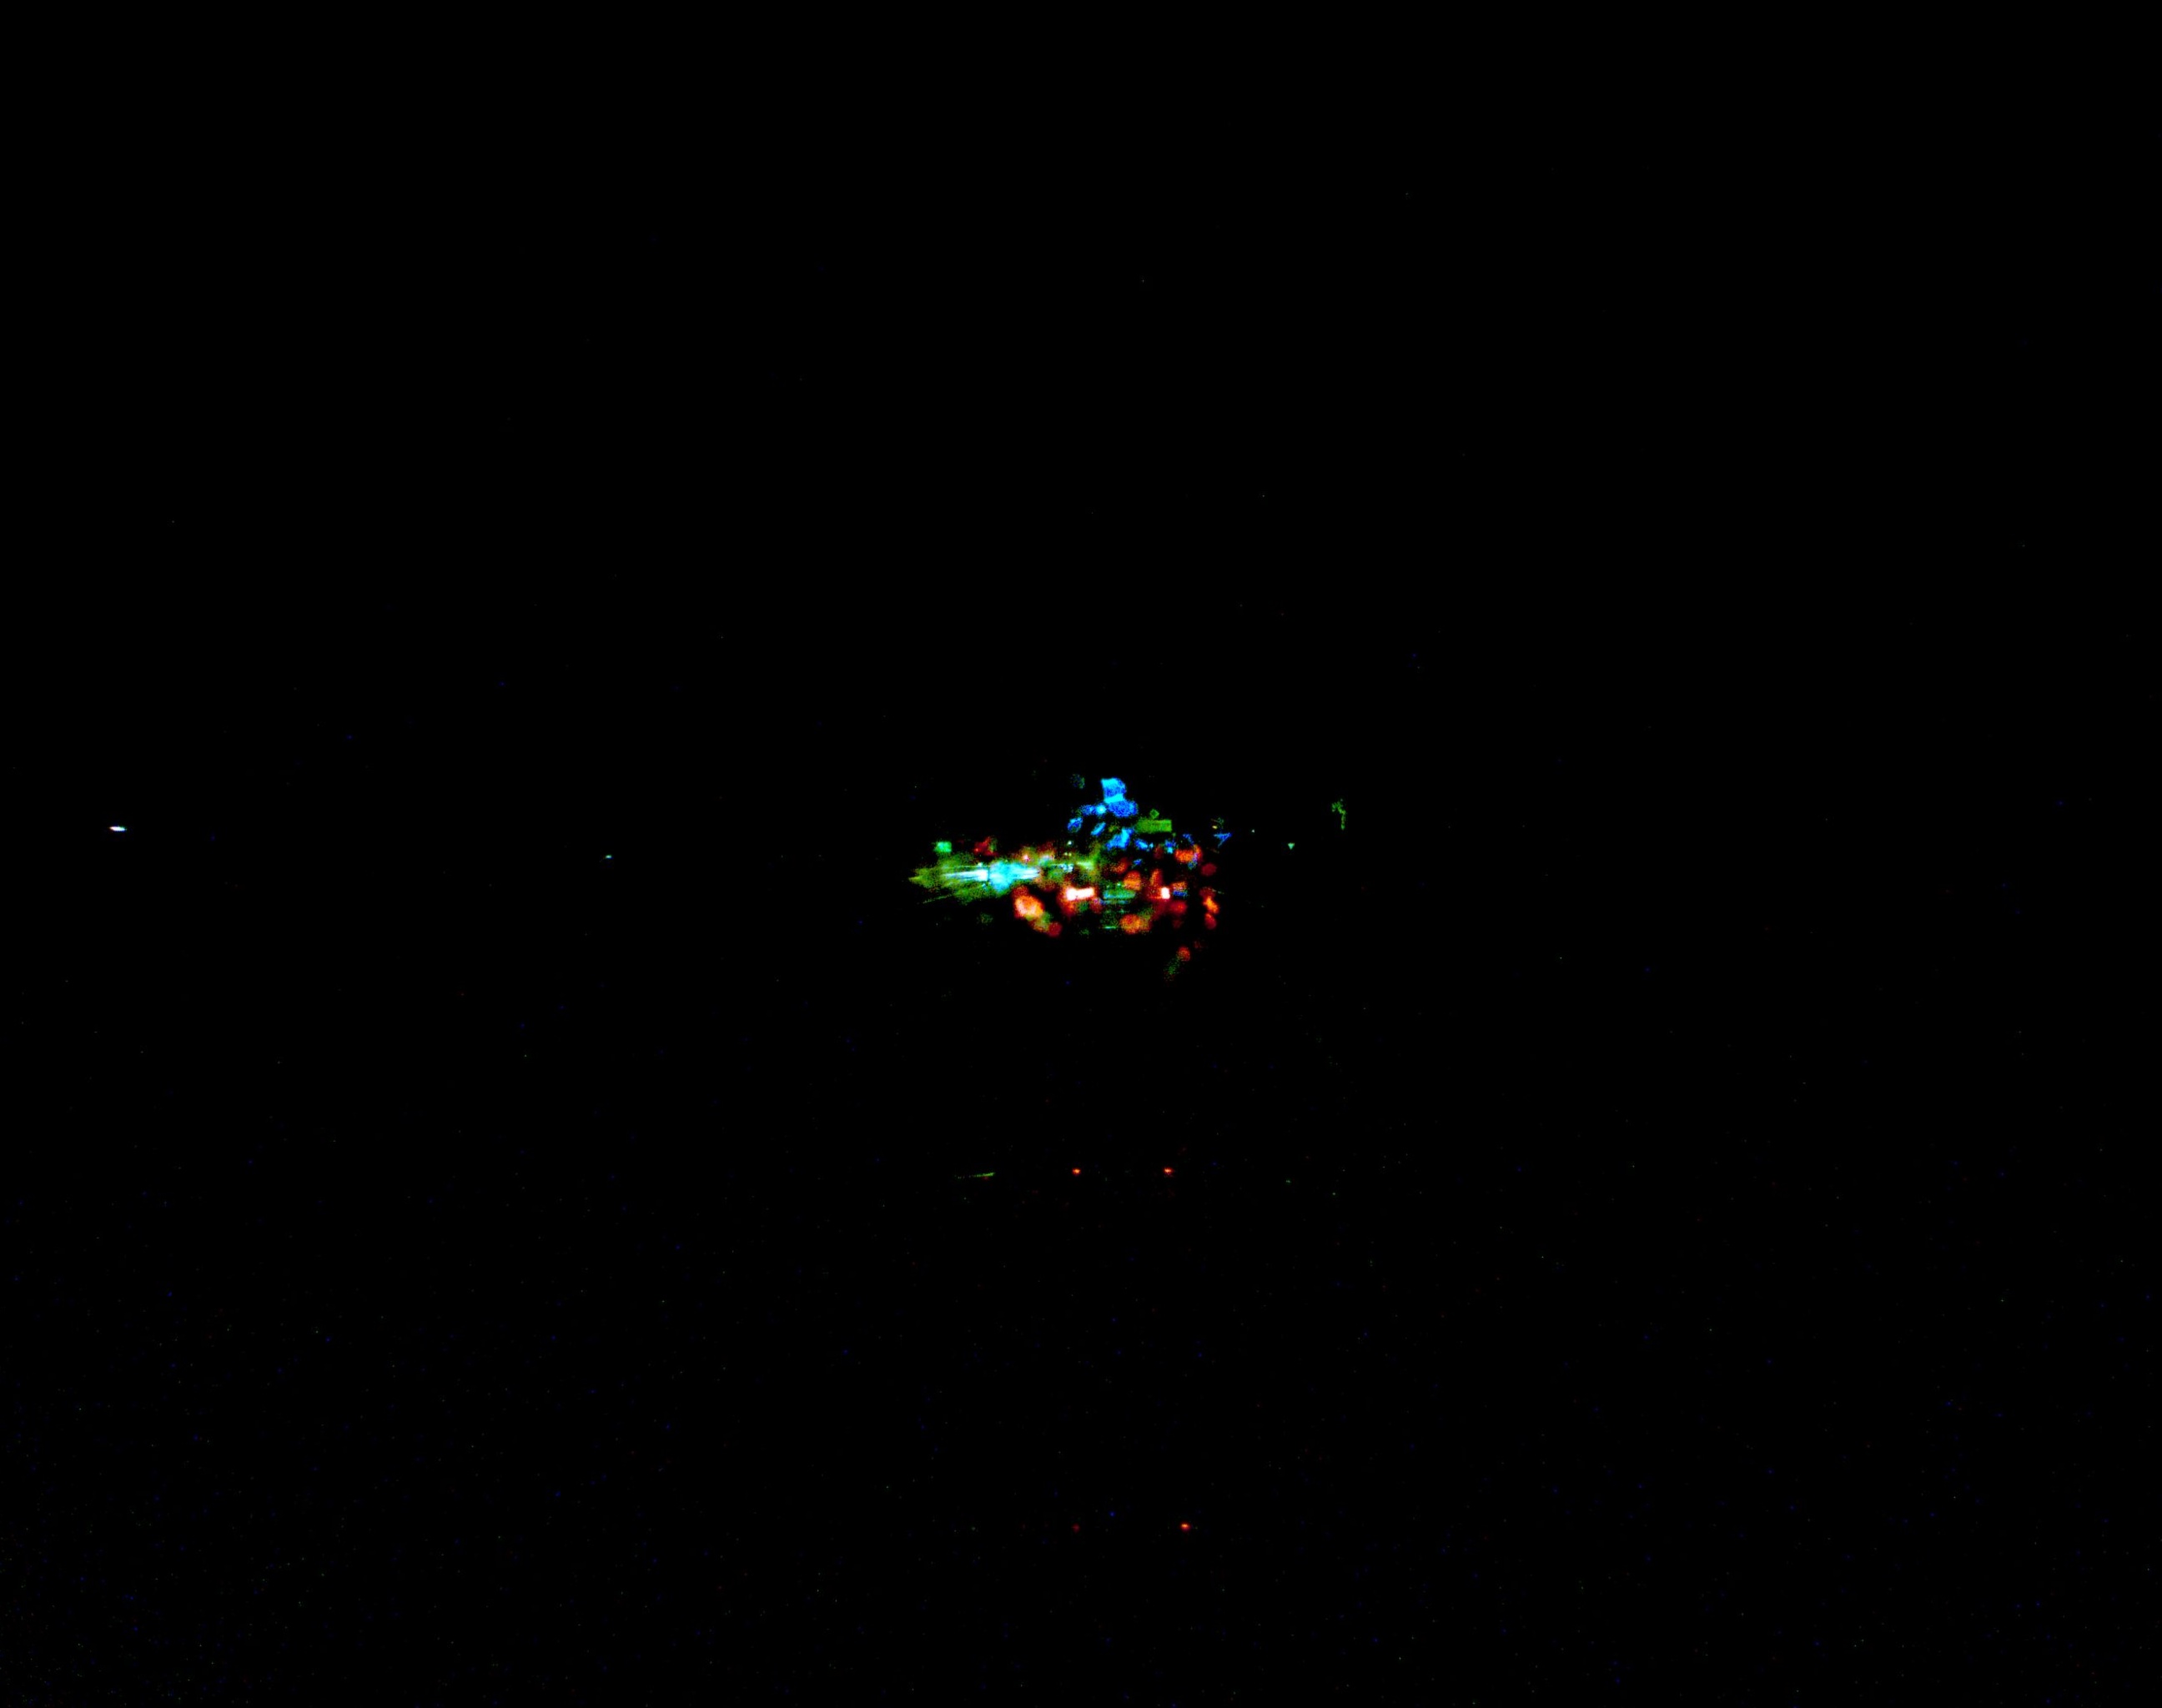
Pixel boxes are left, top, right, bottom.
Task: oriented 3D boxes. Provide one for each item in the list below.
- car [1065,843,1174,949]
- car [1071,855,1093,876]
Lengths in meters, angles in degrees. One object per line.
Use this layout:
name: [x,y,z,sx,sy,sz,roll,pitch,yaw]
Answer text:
car: [0.657,0.701,15.270,1.769,1.712,4.000,-1,-1,1]
car: [0.080,1.241,84.389,1.989,2.014,3.995,-2,-3,-2]
